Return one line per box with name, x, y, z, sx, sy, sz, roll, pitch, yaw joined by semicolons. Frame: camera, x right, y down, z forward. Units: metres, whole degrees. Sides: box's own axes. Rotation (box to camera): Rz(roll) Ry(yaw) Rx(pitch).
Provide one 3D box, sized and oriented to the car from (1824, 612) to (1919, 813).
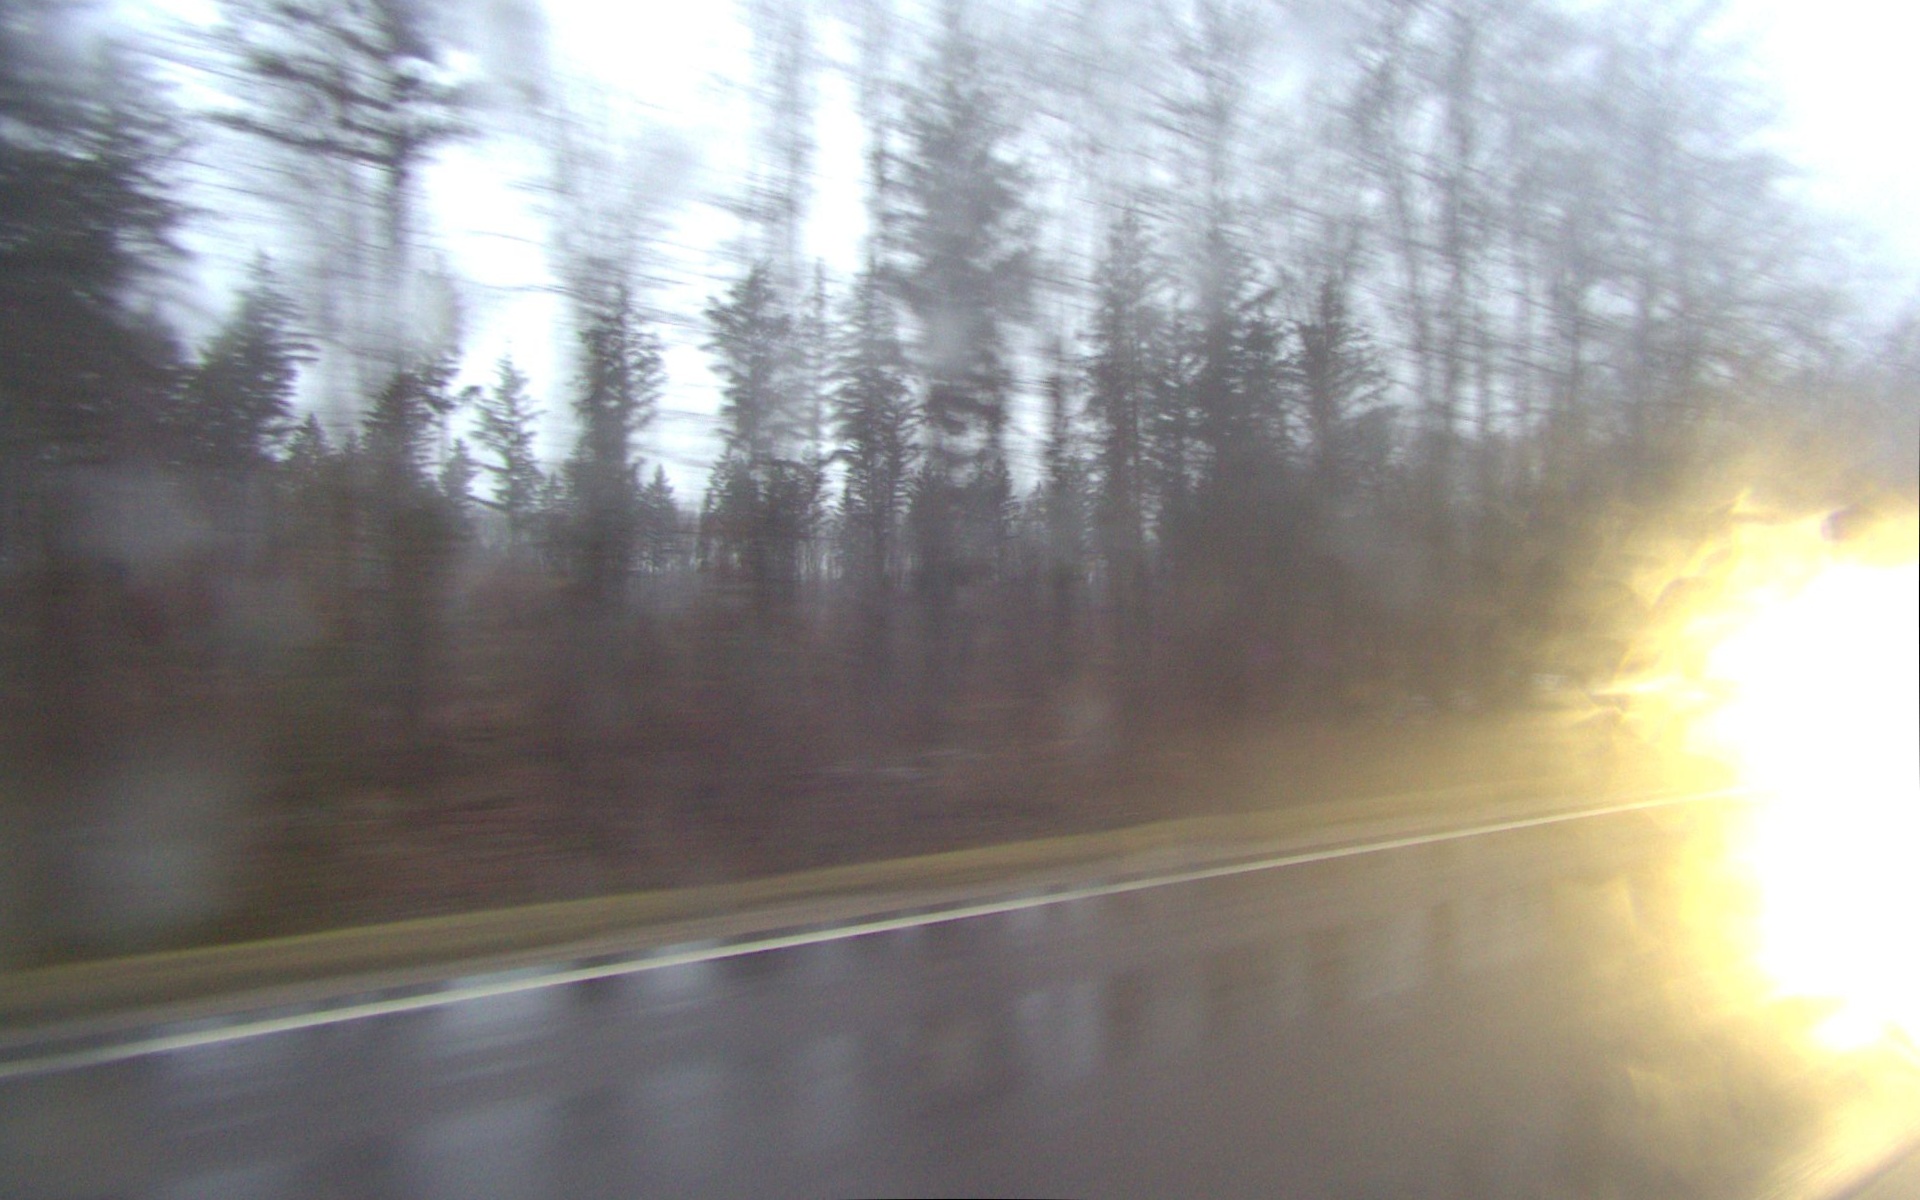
car;9.722;0.976;9.074;3.953;1.657;1.733;2;-1;-30
